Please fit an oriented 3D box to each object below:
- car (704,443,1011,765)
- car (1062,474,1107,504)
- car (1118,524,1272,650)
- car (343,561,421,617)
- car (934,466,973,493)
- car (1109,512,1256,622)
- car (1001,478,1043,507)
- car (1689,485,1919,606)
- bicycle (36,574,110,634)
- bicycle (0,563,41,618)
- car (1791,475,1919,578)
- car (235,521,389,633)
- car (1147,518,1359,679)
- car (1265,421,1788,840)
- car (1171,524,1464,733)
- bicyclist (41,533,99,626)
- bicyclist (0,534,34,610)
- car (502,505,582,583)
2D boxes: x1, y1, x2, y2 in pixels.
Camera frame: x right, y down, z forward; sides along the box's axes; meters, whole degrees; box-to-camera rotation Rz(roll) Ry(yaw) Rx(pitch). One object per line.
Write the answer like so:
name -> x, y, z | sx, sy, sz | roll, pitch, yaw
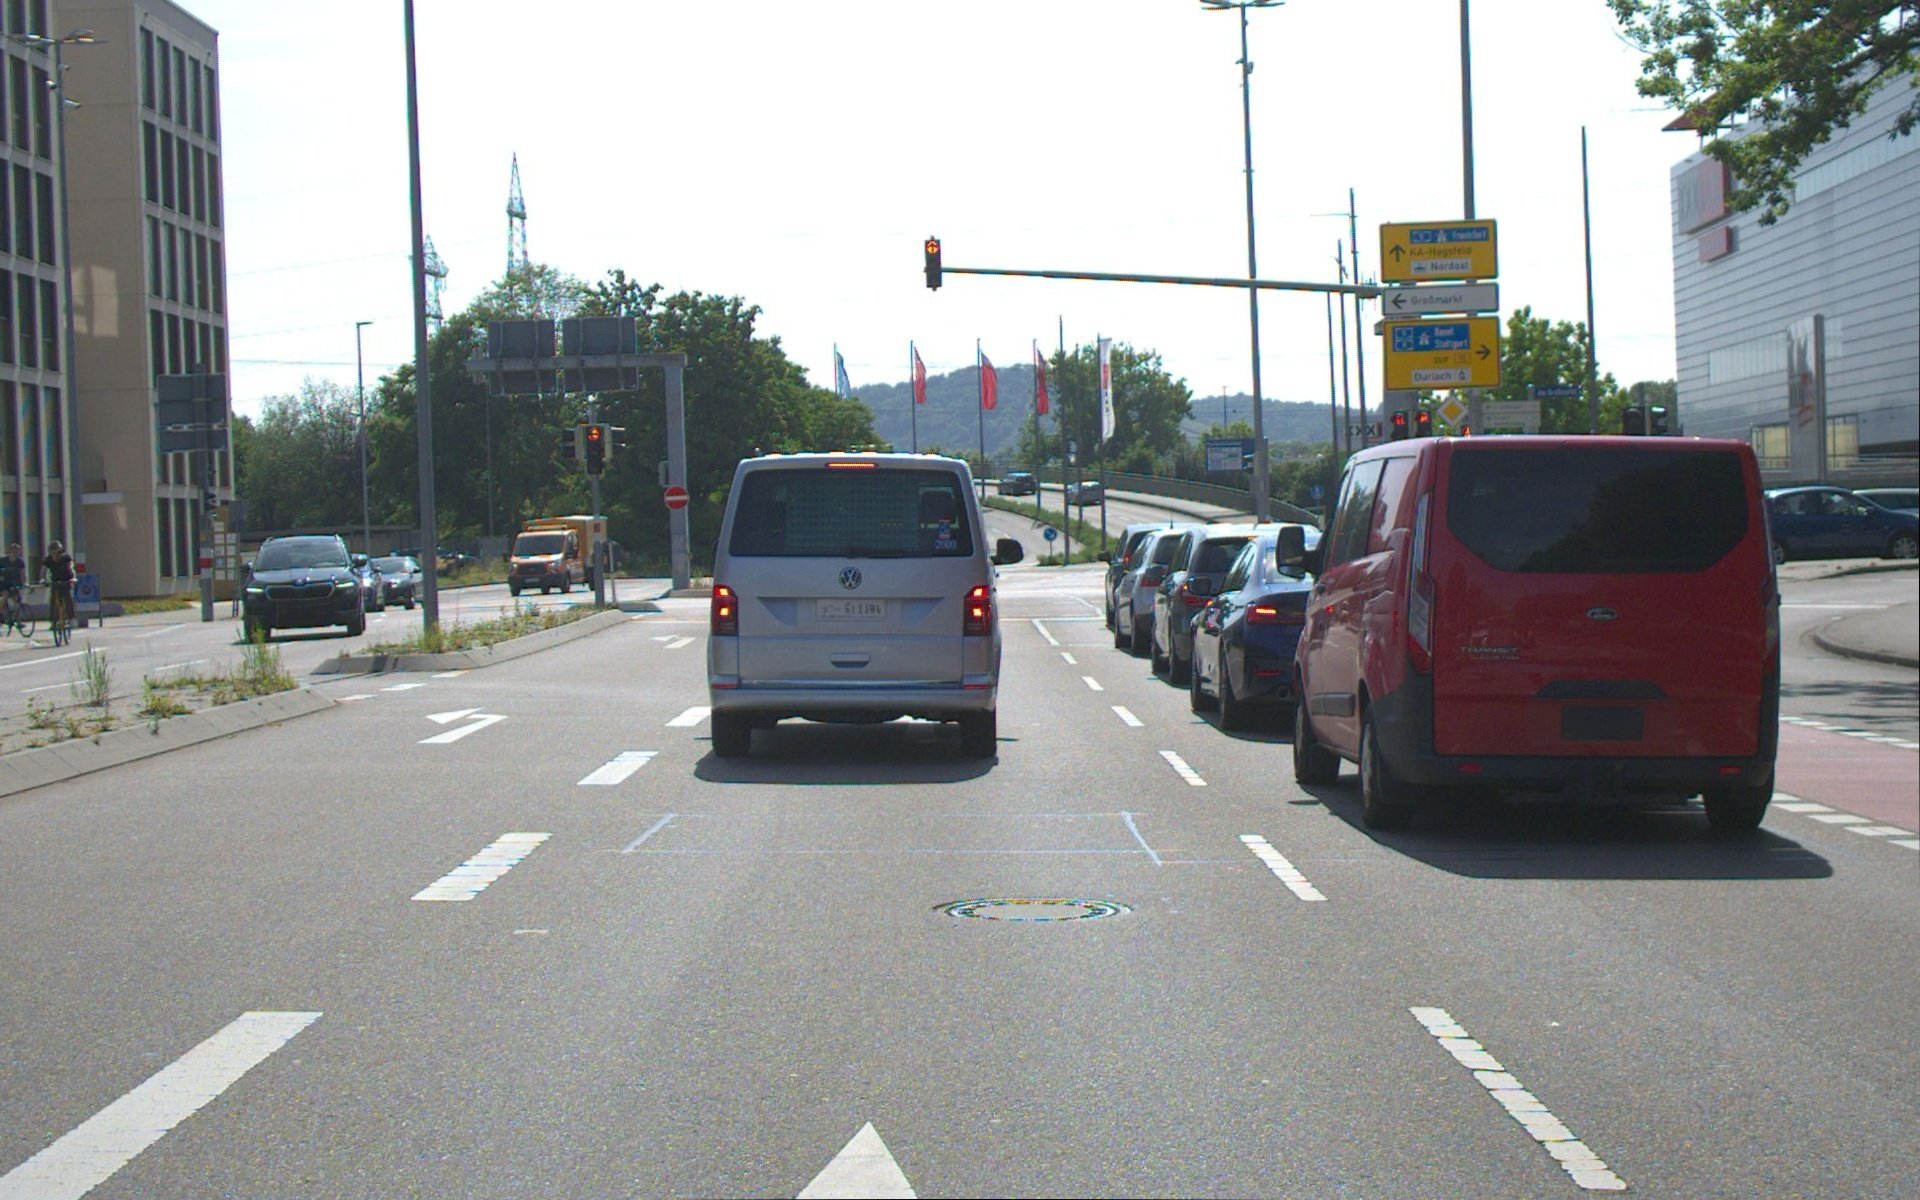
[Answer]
car -> -0.642, -0.022, 23.244 | 1.884, 1.983, 4.000 | 0, 1, 0
car -> 8.454, -7.541, 234.093 | 1.993, 2.007, 4.001 | -1, 1, -15
car -> 2.819, -0.195, 41.841 | 1.578, 1.453, 3.786 | 0, 1, 0
car -> -15.989, -0.321, 95.244 | 1.576, 1.404, 4.380 | -2, 1, -2
car -> -0.497, -9.166, 262.572 | 1.993, 2.007, 4.001 | -1, 1, -15
car -> 3.169, -0.509, 49.662 | 1.836, 1.520, 4.000 | 0, 1, 0
car -> 4.477, -7.803, 249.696 | 1.993, 2.007, 4.001 | -1, 1, -15
car -> 16.194, -1.041, 65.027 | 4.402, 1.987, 1.481 | -4, 1, 2
bicycle -> -15.006, 0.067, 58.224 | 0.680, 0.937, 1.973 | -3, 1, 1
bicycle -> -18.815, -0.195, 68.357 | 0.585, 1.047, 1.876 | -1, 1, 0
car -> 20.159, -1.642, 73.415 | 4.402, 1.987, 1.481 | -4, 1, 5
car -> -10.425, -0.408, 55.565 | 1.738, 1.613, 4.210 | -4, 1, -2
car -> 2.886, -0.061, 34.607 | 1.746, 1.511, 4.078 | 0, 1, 0
car -> 2.897, 0.084, 18.766 | 1.967, 1.961, 5.126 | 0, 1, 0
car -> 2.654, 0.154, 26.409 | 1.746, 1.453, 4.476 | 0, 1, 0
bicyclist -> -15.053, -0.358, 58.156 | 0.618, 1.521, 1.036 | -3, 1, 1
bicyclist -> -18.877, -0.556, 68.377 | 0.630, 1.496, 1.028 | -1, 1, 0
car -> -14.601, -1.978, 120.376 | 2.405, 2.552, 6.897 | -2, 1, -5
